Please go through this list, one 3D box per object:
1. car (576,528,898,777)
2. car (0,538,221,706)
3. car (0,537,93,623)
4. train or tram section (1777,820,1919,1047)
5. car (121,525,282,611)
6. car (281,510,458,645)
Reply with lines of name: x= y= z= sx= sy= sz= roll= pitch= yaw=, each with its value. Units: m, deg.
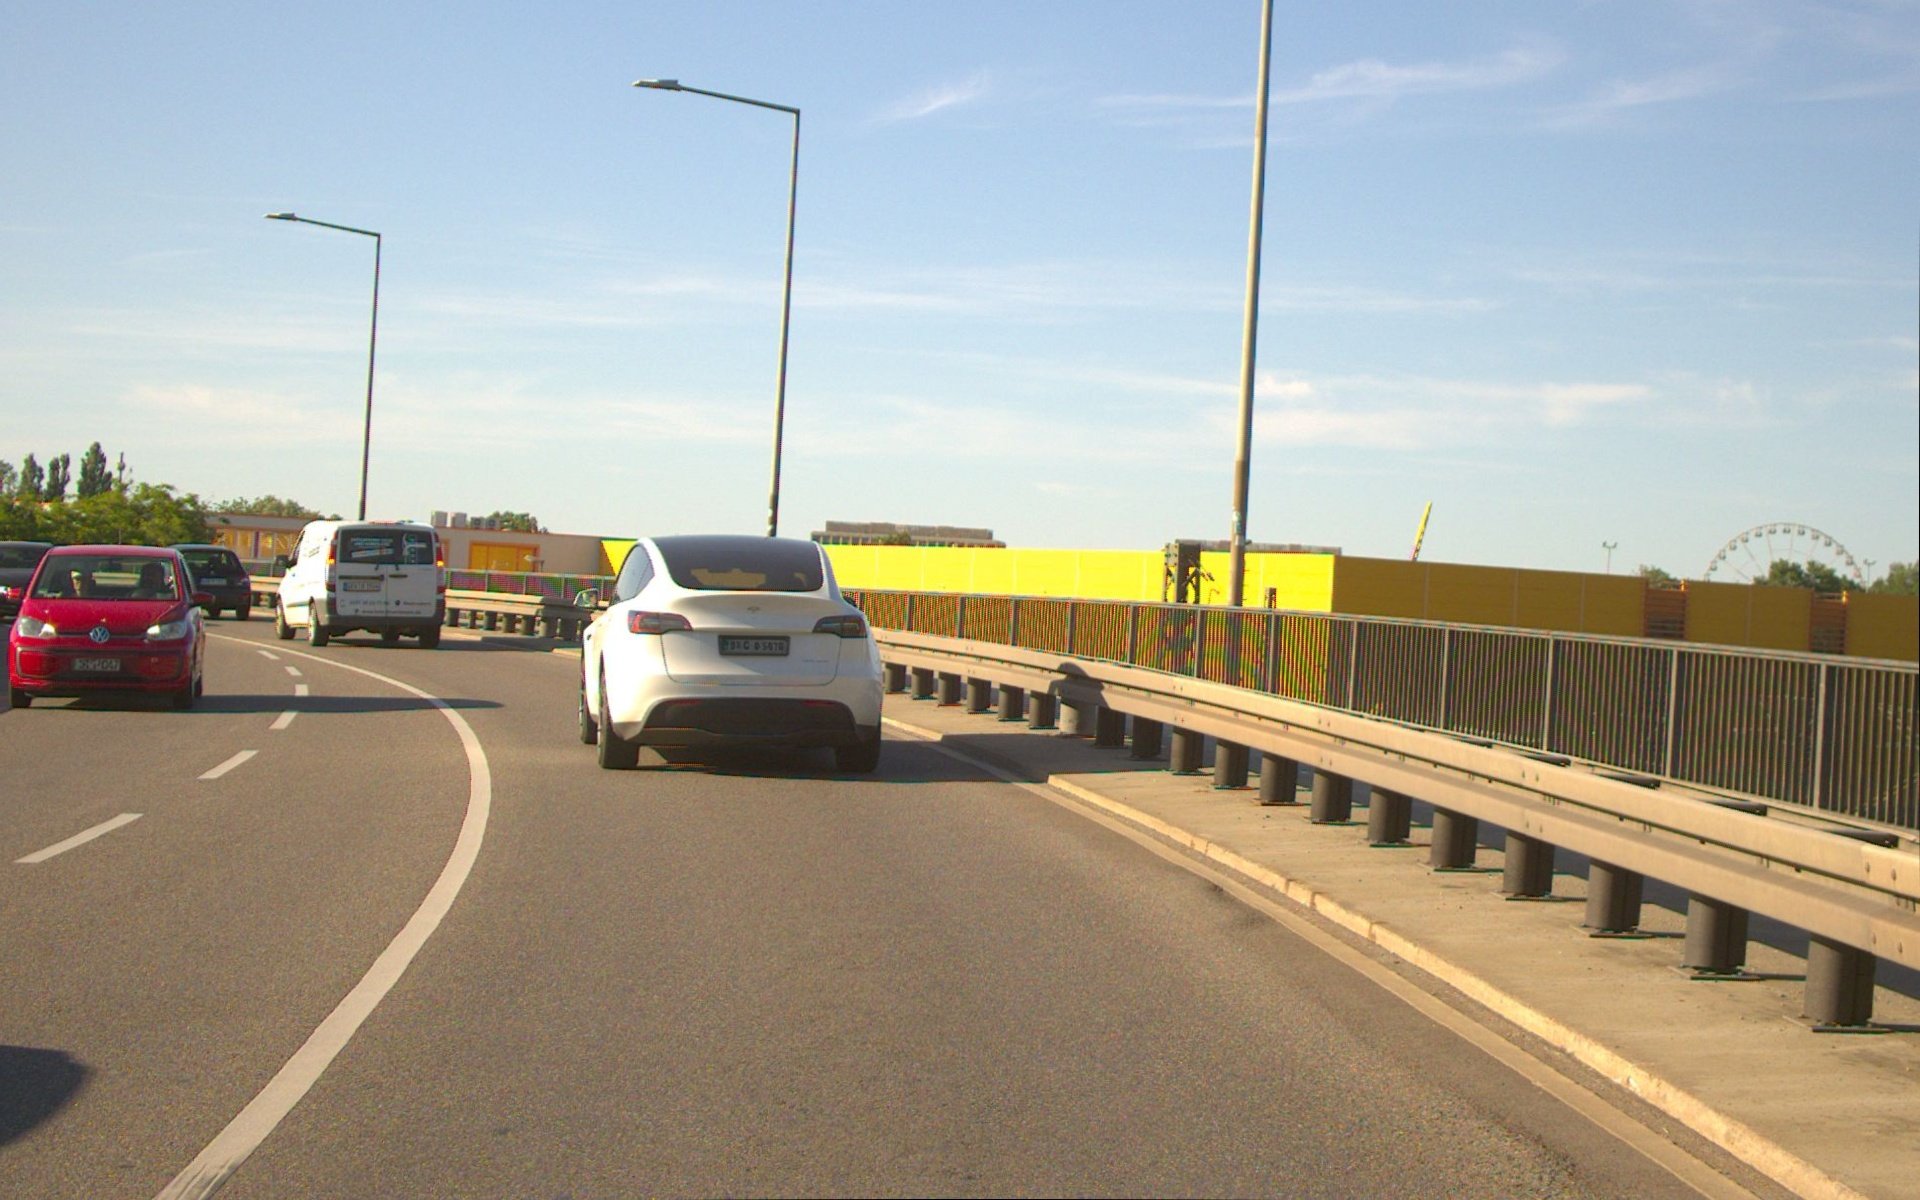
car: x=-1.688 y=0.316 z=24.654 sx=1.985 sy=1.632 sz=4.064 roll=0 pitch=1 yaw=-8
car: x=-7.858 y=0.158 z=31.851 sx=1.781 sy=1.432 sz=3.876 roll=1 pitch=1 yaw=-9
car: x=-16.712 y=-0.379 z=61.186 sx=1.873 sy=1.434 sz=4.322 roll=1 pitch=1 yaw=-22
train or tram section: x=28.979 y=8.439 z=89.946 sx=16.824 sy=5.243 sz=3.337 roll=1 pitch=1 yaw=-29
car: x=-14.795 y=-0.640 z=66.911 sx=1.968 sy=1.632 sz=4.000 roll=0 pitch=1 yaw=-30
car: x=-9.026 y=-0.371 z=52.311 sx=2.004 sy=1.934 sz=4.469 roll=1 pitch=1 yaw=-18
